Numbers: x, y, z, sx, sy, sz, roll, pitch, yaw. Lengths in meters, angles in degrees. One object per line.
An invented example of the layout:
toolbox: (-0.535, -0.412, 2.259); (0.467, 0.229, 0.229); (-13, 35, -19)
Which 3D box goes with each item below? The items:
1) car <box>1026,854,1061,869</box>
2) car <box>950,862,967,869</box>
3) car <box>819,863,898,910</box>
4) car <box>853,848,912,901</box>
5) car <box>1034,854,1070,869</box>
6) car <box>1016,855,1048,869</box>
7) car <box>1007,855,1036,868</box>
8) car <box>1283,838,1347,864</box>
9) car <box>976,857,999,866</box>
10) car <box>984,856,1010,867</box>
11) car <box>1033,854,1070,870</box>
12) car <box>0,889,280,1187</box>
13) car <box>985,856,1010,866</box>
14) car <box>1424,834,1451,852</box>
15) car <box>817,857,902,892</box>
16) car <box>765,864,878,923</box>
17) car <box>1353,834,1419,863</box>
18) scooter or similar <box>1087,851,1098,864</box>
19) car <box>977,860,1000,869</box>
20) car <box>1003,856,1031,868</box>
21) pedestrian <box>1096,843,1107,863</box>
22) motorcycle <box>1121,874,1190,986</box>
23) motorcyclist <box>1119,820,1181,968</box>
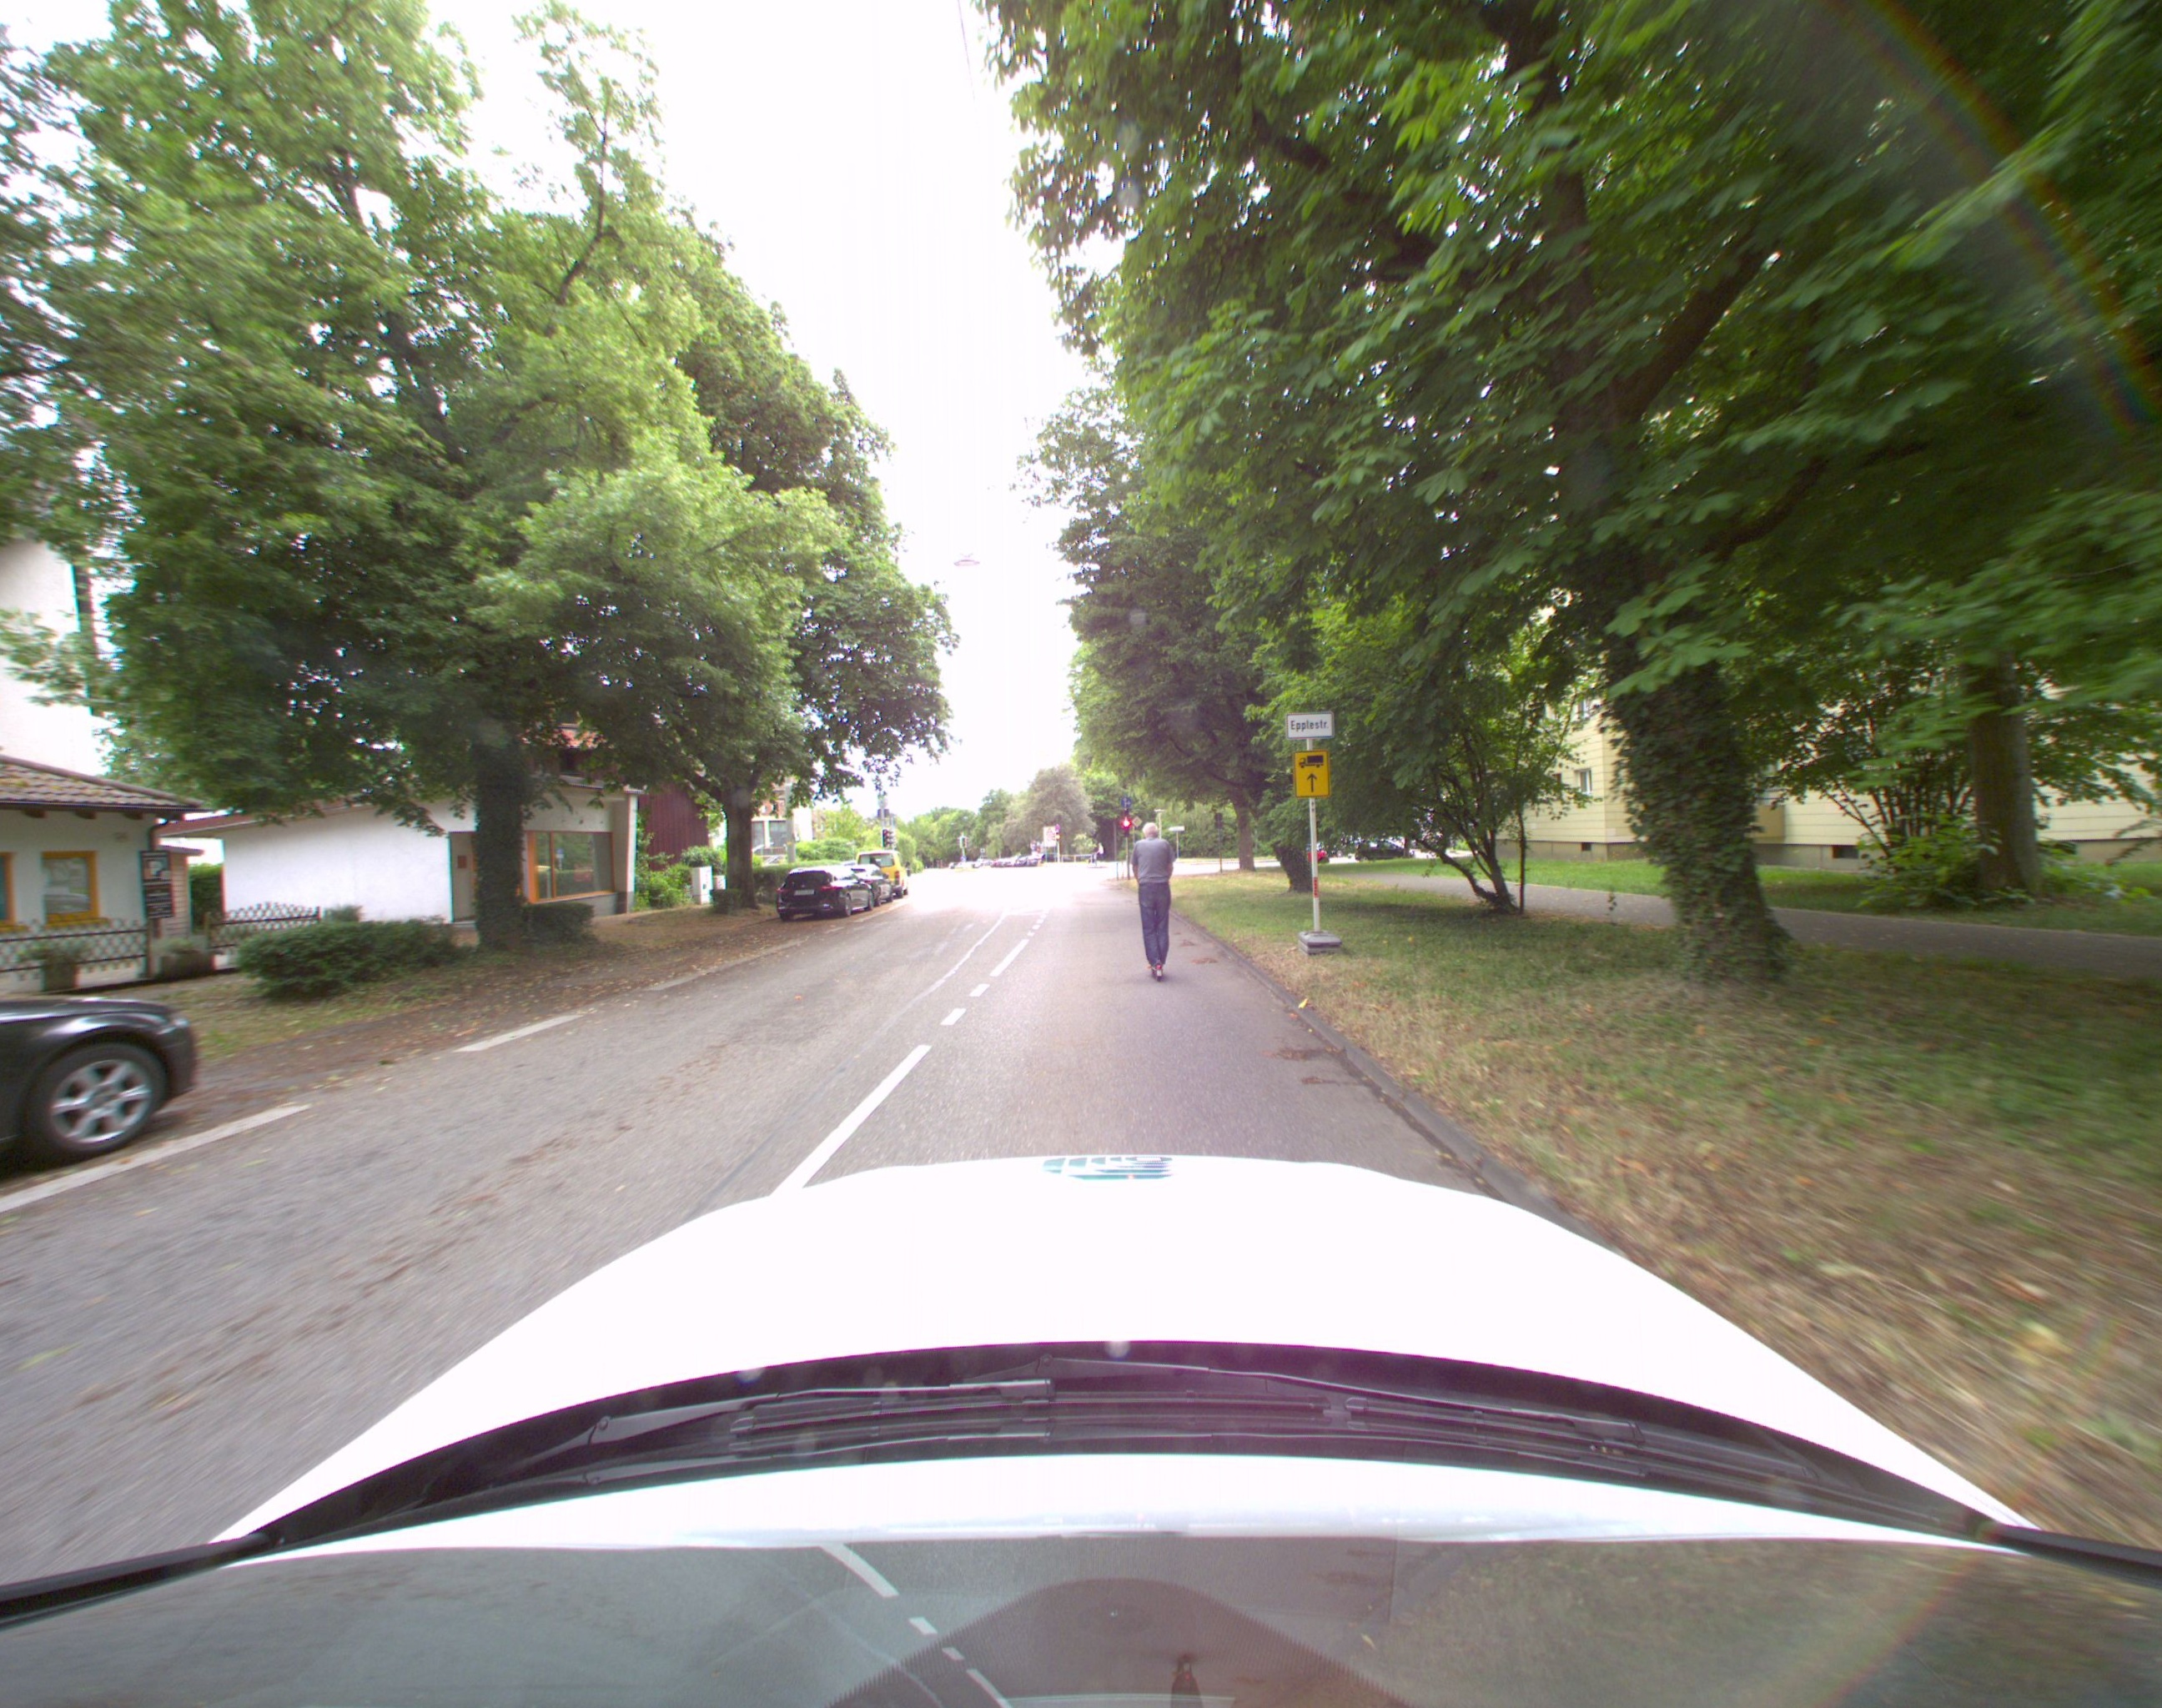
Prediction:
car: (-4.519, 0.905, 97.859); (3.981, 1.510, 1.797); (-3, 0, -6)
car: (-30.571, 2.773, 203.574); (3.981, 1.510, 1.797); (-3, 0, -6)
car: (-7.737, 1.081, 28.708); (1.791, 1.416, 4.184); (-3, 0, -4)
car: (-8.294, 0.826, 34.326); (1.856, 1.964, 4.492); (-3, 0, -8)
car: (-3.371, 0.862, 94.366); (3.981, 1.510, 1.797); (-3, 0, -6)
car: (-6.264, 0.982, 104.601); (3.981, 1.510, 1.797); (-3, 0, -6)
car: (-8.362, 1.053, 115.205); (3.981, 1.510, 1.797); (-3, 0, -6)
car: (15.639, -0.231, 54.667); (3.963, 1.557, 1.806); (-1, 3, 9)
car: (-17.384, 1.376, 151.557); (3.981, 1.510, 1.797); (-3, 0, -6)
car: (-13.523, 1.148, 131.173); (3.981, 1.510, 1.797); (-3, 0, -6)
car: (-3.336, 0.869, 90.788); (3.981, 1.510, 1.797); (-3, 0, -6)
car: (-6.269, 1.000, 3.129); (1.789, 1.410, 4.642); (-3, 0, -2)
car: (-13.867, 1.173, 134.913); (3.981, 1.510, 1.797); (-3, 0, -6)
car: (33.832, -1.031, 77.407); (2.065, 1.510, 4.020); (-3, 0, 20)
car: (-11.489, 1.043, 42.482); (3.985, 1.510, 1.795); (-3, 2, -9)
car: (-7.315, 1.054, 23.469); (1.887, 1.410, 4.550); (-3, 0, -2)
car: (20.029, -0.351, 53.435); (3.952, 1.726, 1.810); (0, 3, 22)
scooter or similar: (1.035, 0.295, 71.915); (0.704, 1.049, 0.791); (-3, 0, 16)
car: (-16.888, 1.941, 149.227); (3.981, 1.510, 1.797); (-3, 0, -6)
car: (-9.179, 1.109, 117.056); (3.981, 1.510, 1.797); (-3, 0, -6)
pedestrian: (1.807, -0.087, 71.542); (0.726, 1.761, 0.664); (-3, 0, 16)
motorcycle: (0.867, 0.868, 9.821); (0.671, 1.217, 1.273); (-1, 0, -1)
motorcyclist: (0.849, 0.478, 10.110); (0.671, 1.761, 0.638); (-1, 0, -2)
